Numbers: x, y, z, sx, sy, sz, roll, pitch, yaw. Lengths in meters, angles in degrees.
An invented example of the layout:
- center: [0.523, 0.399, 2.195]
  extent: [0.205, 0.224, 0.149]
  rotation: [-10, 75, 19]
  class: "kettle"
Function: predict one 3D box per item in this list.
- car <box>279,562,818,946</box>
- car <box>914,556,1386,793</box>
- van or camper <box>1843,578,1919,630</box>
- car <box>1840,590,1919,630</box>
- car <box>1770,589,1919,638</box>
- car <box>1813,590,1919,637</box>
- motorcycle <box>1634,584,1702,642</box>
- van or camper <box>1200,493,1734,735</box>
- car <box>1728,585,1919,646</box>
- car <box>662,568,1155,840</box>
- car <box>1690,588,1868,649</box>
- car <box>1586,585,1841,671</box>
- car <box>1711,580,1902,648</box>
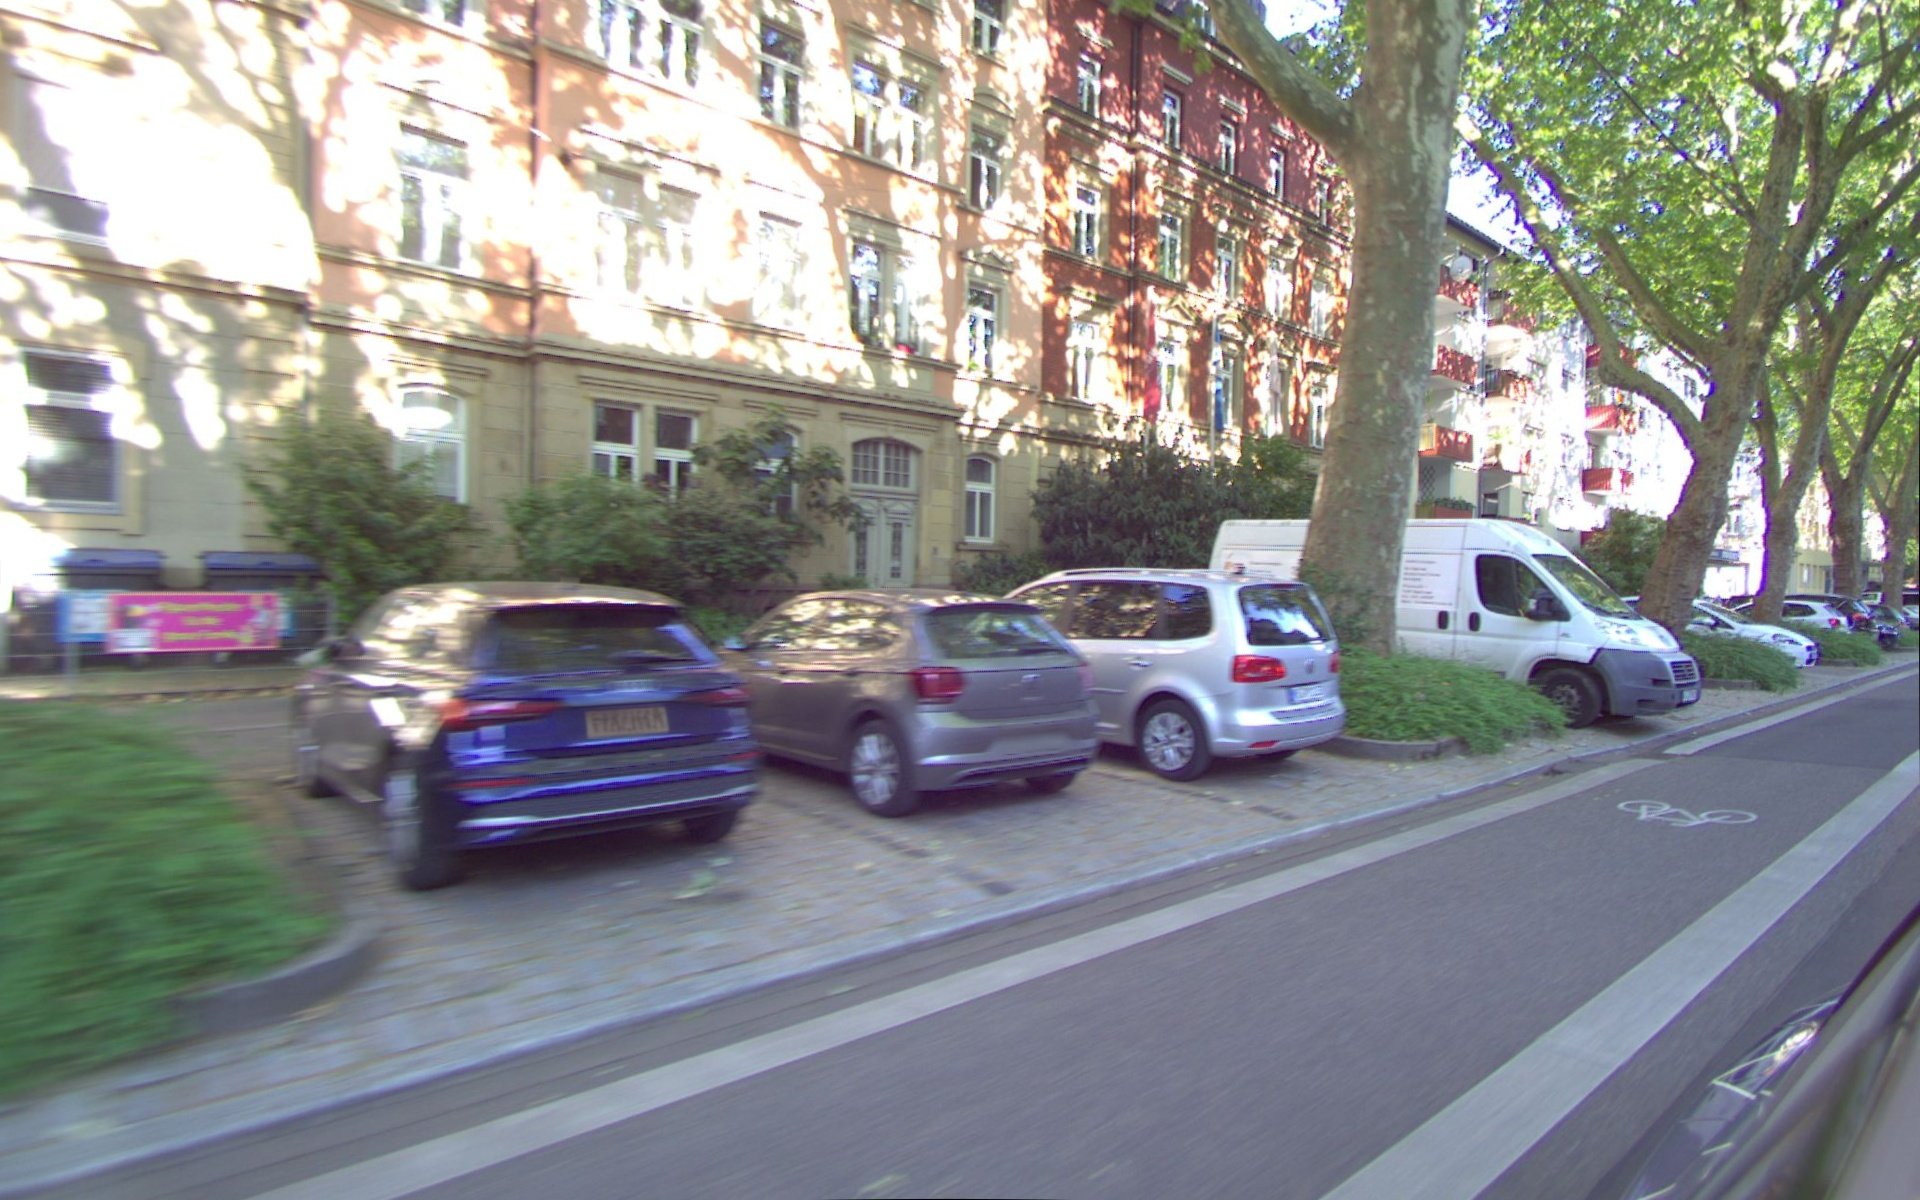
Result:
- center: [-2.715, 0.537, 6.048]
  extent: [1.765, 1.478, 4.061]
  rotation: [0, 2, -41]
  class: "car"
- center: [1.527, 0.447, 9.213]
  extent: [1.766, 1.676, 3.960]
  rotation: [-1, 2, -42]
  class: "car"
- center: [41.032, 0.163, 43.560]
  extent: [1.808, 2.136, 4.382]
  rotation: [0, 2, -43]
  class: "van or camper"
- center: [38.960, 0.404, 41.962]
  extent: [1.648, 1.550, 3.568]
  rotation: [0, 2, -41]
  class: "car"
- center: [30.571, 0.415, 35.000]
  extent: [1.672, 1.461, 3.829]
  rotation: [0, 3, -45]
  class: "car"
- center: [32.920, 0.484, 35.545]
  extent: [1.877, 1.500, 4.207]
  rotation: [0, 2, -39]
  class: "car"
- center: [19.400, 0.333, 27.705]
  extent: [2.769, 1.497, 0.841]
  rotation: [0, 2, -41]
  class: "motorcycle"
- center: [6.348, 0.040, 13.541]
  extent: [2.070, 2.521, 6.045]
  rotation: [0, 2, -40]
  class: "van or camper"
- center: [26.446, 0.412, 31.095]
  extent: [1.713, 1.673, 4.297]
  rotation: [0, 2, -42]
  class: "car"
- center: [-0.632, 0.538, 7.786]
  extent: [1.764, 1.496, 3.963]
  rotation: [0, 2, -40]
  class: "car"
- center: [22.612, 0.466, 28.038]
  extent: [1.631, 1.514, 3.615]
  rotation: [0, 2, -41]
  class: "car"
- center: [15.572, 0.511, 21.095]
  extent: [1.658, 1.498, 3.964]
  rotation: [0, 2, -39]
  class: "car"
- center: [24.571, 0.350, 29.484]
  extent: [1.773, 1.766, 4.003]
  rotation: [1, 1, -40]
  class: "car"
